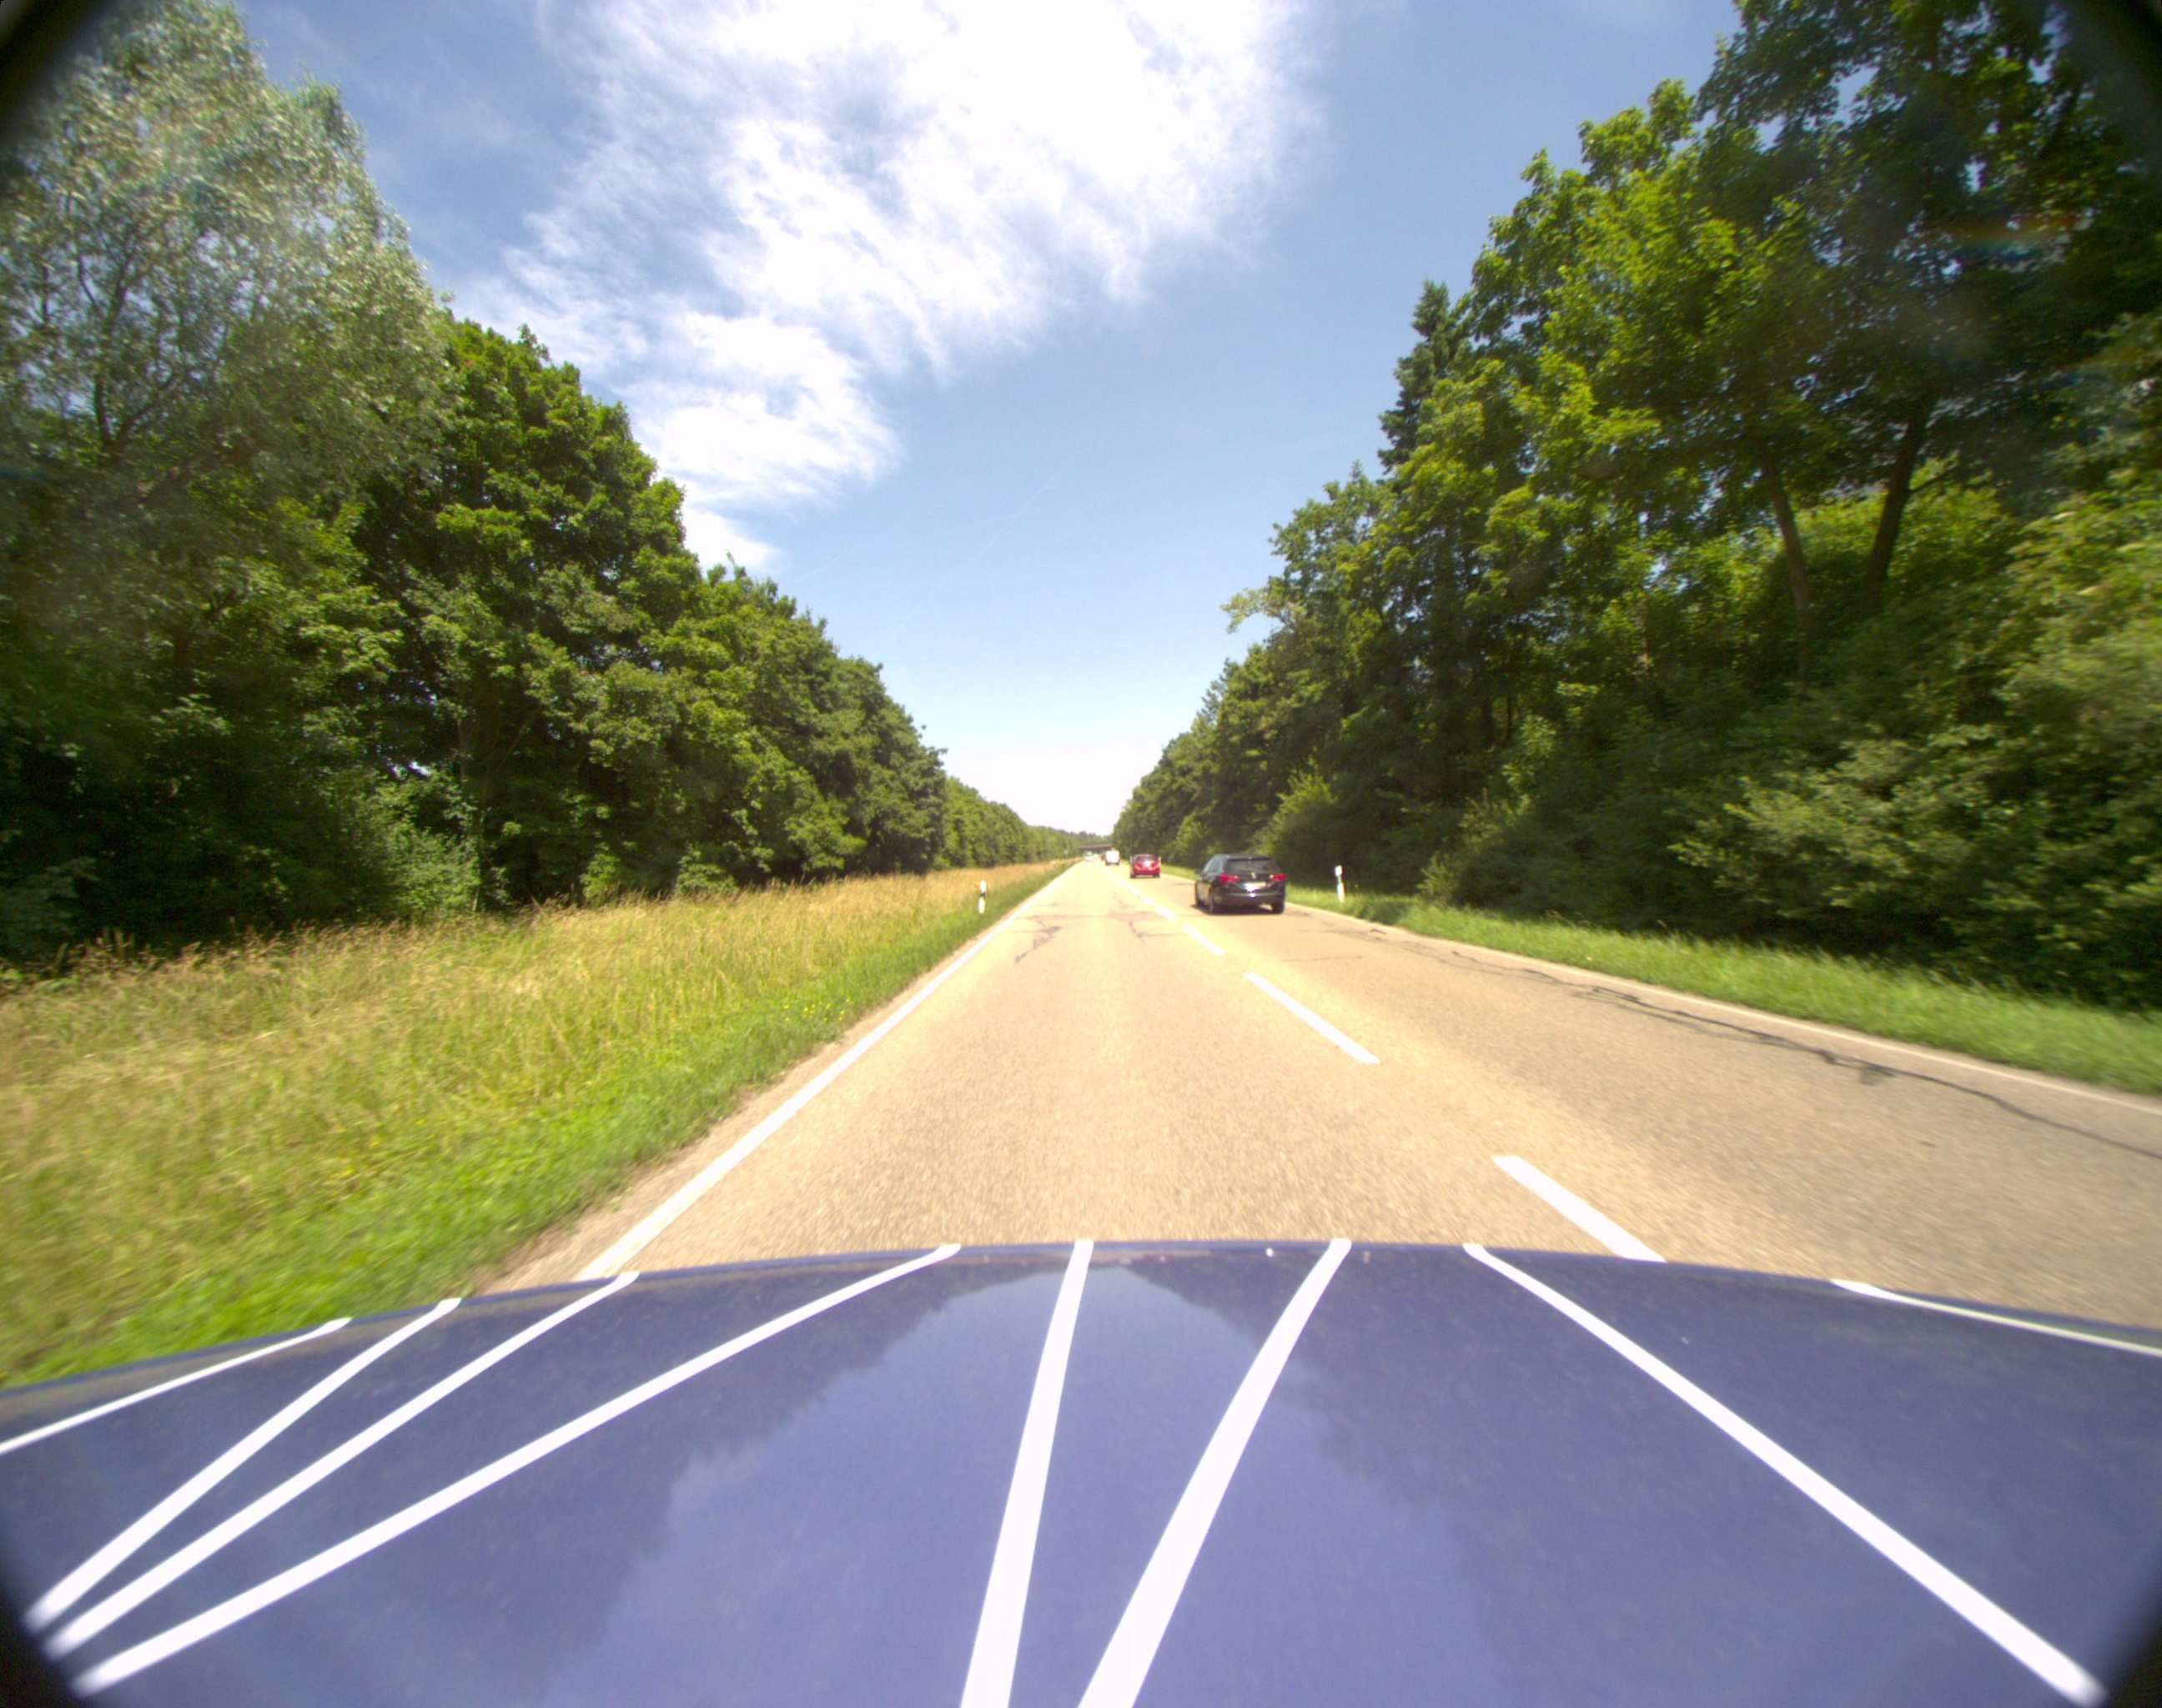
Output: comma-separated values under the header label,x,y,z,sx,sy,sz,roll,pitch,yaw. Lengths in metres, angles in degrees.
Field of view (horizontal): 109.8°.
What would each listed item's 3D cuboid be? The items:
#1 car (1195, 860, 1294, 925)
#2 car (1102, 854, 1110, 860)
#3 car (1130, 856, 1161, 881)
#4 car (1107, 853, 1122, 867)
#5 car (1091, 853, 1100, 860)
label,x,y,z,sx,sy,sz,roll,pitch,yaw
car,4.108,0.908,19.698,1.788,1.441,4.110,-1,0,2
car,6.475,0.722,196.660,1.870,1.615,4.200,-2,0,0
car,4.071,0.909,48.556,1.686,1.484,4.000,-2,0,1
car,4.757,0.786,107.210,1.880,1.917,4.987,-2,0,1
car,3.518,0.581,184.143,1.865,1.747,3.999,-2,0,0
